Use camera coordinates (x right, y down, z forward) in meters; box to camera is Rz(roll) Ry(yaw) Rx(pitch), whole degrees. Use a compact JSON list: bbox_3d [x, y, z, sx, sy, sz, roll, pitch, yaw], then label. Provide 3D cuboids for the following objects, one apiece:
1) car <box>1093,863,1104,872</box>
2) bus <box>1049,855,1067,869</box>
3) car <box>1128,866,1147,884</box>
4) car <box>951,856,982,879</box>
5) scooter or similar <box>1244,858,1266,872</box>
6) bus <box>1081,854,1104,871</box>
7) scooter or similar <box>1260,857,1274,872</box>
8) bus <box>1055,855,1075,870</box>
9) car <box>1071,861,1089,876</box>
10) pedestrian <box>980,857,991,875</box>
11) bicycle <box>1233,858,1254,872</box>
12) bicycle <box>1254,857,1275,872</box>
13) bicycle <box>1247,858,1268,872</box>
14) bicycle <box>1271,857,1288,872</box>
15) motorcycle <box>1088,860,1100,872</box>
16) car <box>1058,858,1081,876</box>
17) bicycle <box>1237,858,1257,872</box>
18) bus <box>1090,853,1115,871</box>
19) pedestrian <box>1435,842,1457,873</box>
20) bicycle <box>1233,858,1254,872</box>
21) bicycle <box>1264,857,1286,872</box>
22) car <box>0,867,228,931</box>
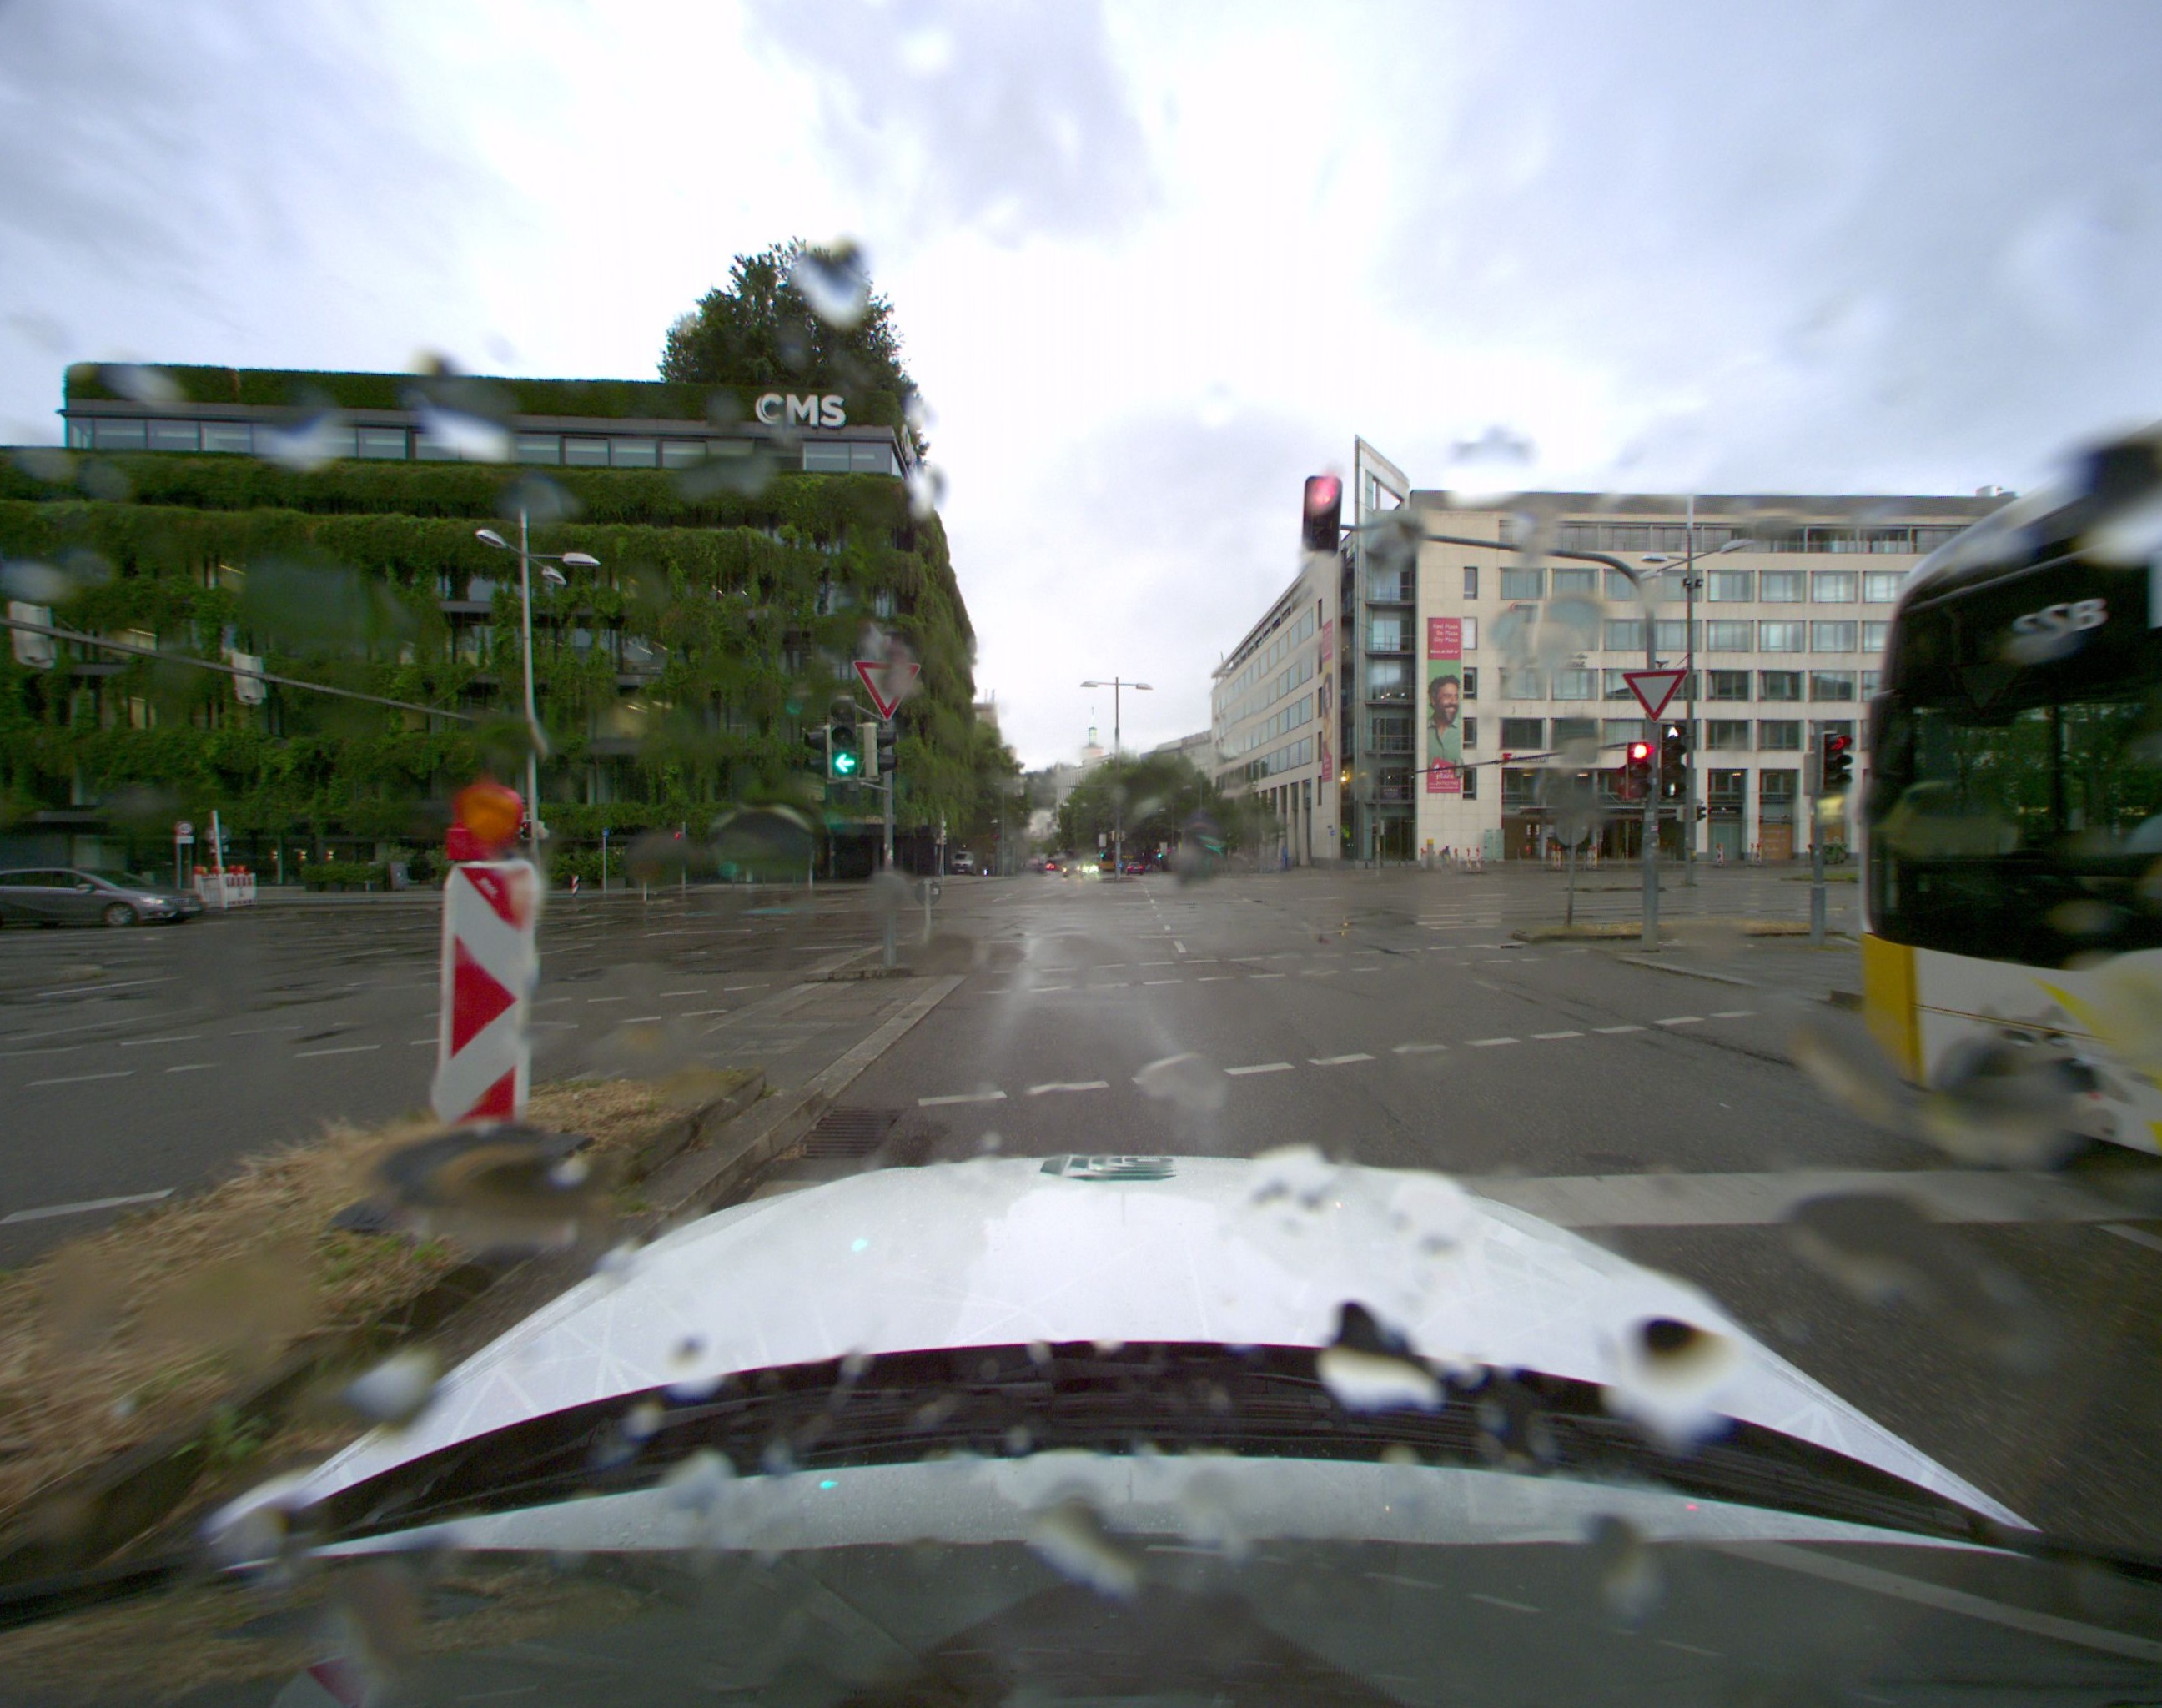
[{"bbox_3d":[2.918,2.308,137.851,1.775,1.508,4.001,0,-1,2],"label":"car"},{"bbox_3d":[-5.158,1.842,179.984,2.631,2.995,7.414,-1,0,-13],"label":"bus"},{"bbox_3d":[6.349,2.305,91.432,1.534,2.014,4.681,-1,-1,10],"label":"car"},{"bbox_3d":[-9.540,1.093,68.009,1.863,1.839,4.001,0,-1,2],"label":"car"},{"bbox_3d":[14.927,0.928,70.058,1.770,1.194,0.587,0,-1,3],"label":"scooter or similar"},{"bbox_3d":[2.054,1.528,152.546,2.631,2.995,7.414,-1,0,-13],"label":"bus"},{"bbox_3d":[14.436,0.828,63.243,0.951,1.194,0.458,-1,-2,42],"label":"scooter or similar"},{"bbox_3d":[-3.465,1.825,172.840,2.631,2.995,7.294,-1,0,-13],"label":"bus"},{"bbox_3d":[-0.147,1.766,98.860,2.158,1.765,5.109,0,-1,-1],"label":"car"},{"bbox_3d":[-8.750,1.063,74.603,0.930,1.644,0.774,0,-1,1],"label":"pedestrian"},{"bbox_3d":[14.493,0.969,72.496,1.770,1.194,0.587,0,-1,3],"label":"bicycle"},{"bbox_3d":[14.745,0.860,65.473,0.588,1.194,1.768,0,-1,-26],"label":"bicycle"},{"bbox_3d":[15.308,0.935,70.672,1.770,1.194,0.587,0,-1,3],"label":"bicycle"},{"bbox_3d":[16.069,0.858,65.998,0.579,1.194,1.794,-1,-1,40],"label":"bicycle"},{"bbox_3d":[1.724,1.581,107.921,1.547,1.515,4.382,0,-1,-1],"label":"motorcycle"},{"bbox_3d":[-1.094,1.284,80.044,2.158,1.765,5.109,0,-1,-1],"label":"car"},{"bbox_3d":[14.960,0.979,73.403,1.770,1.194,0.587,0,-1,3],"label":"bicycle"},{"bbox_3d":[3.742,1.447,145.353,2.631,2.995,7.414,-1,0,-13],"label":"bus"},{"bbox_3d":[21.837,0.206,48.706,0.958,1.817,0.836,0,-1,1],"label":"pedestrian"},{"bbox_3d":[14.317,0.960,71.866,1.770,1.194,0.587,0,-1,3],"label":"bicycle"},{"bbox_3d":[15.217,0.833,63.908,1.607,1.194,0.590,-1,-1,27],"label":"bicycle"},{"bbox_3d":[-26.132,1.149,21.350,4.901,1.488,1.924,-1,0,-15],"label":"car"}]
